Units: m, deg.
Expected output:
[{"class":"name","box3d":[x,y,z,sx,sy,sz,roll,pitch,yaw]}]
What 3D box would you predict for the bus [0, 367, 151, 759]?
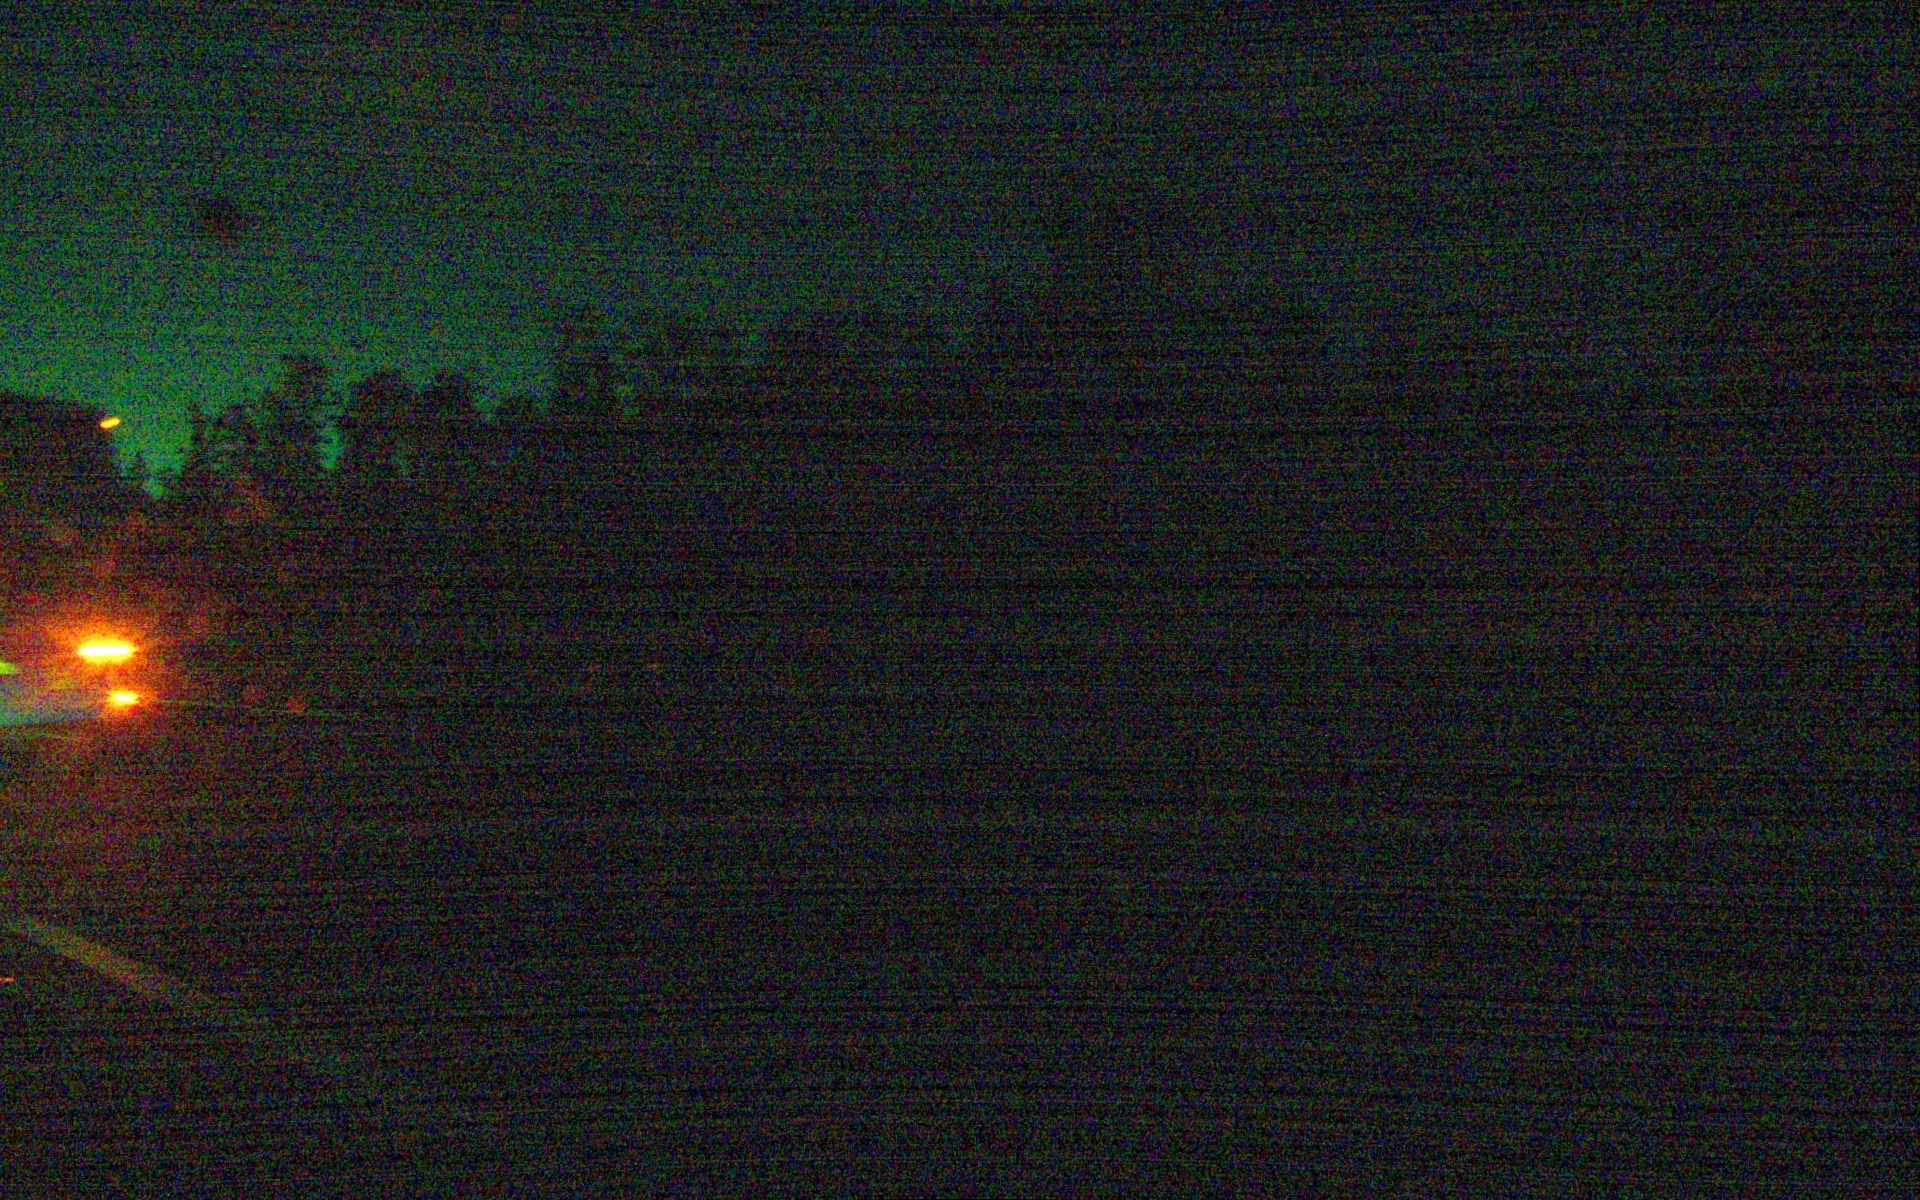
[{"class":"bus","box3d":[-16.074,-0.226,14.138,14.492,4.044,2.648,-1,-3,32]}]
